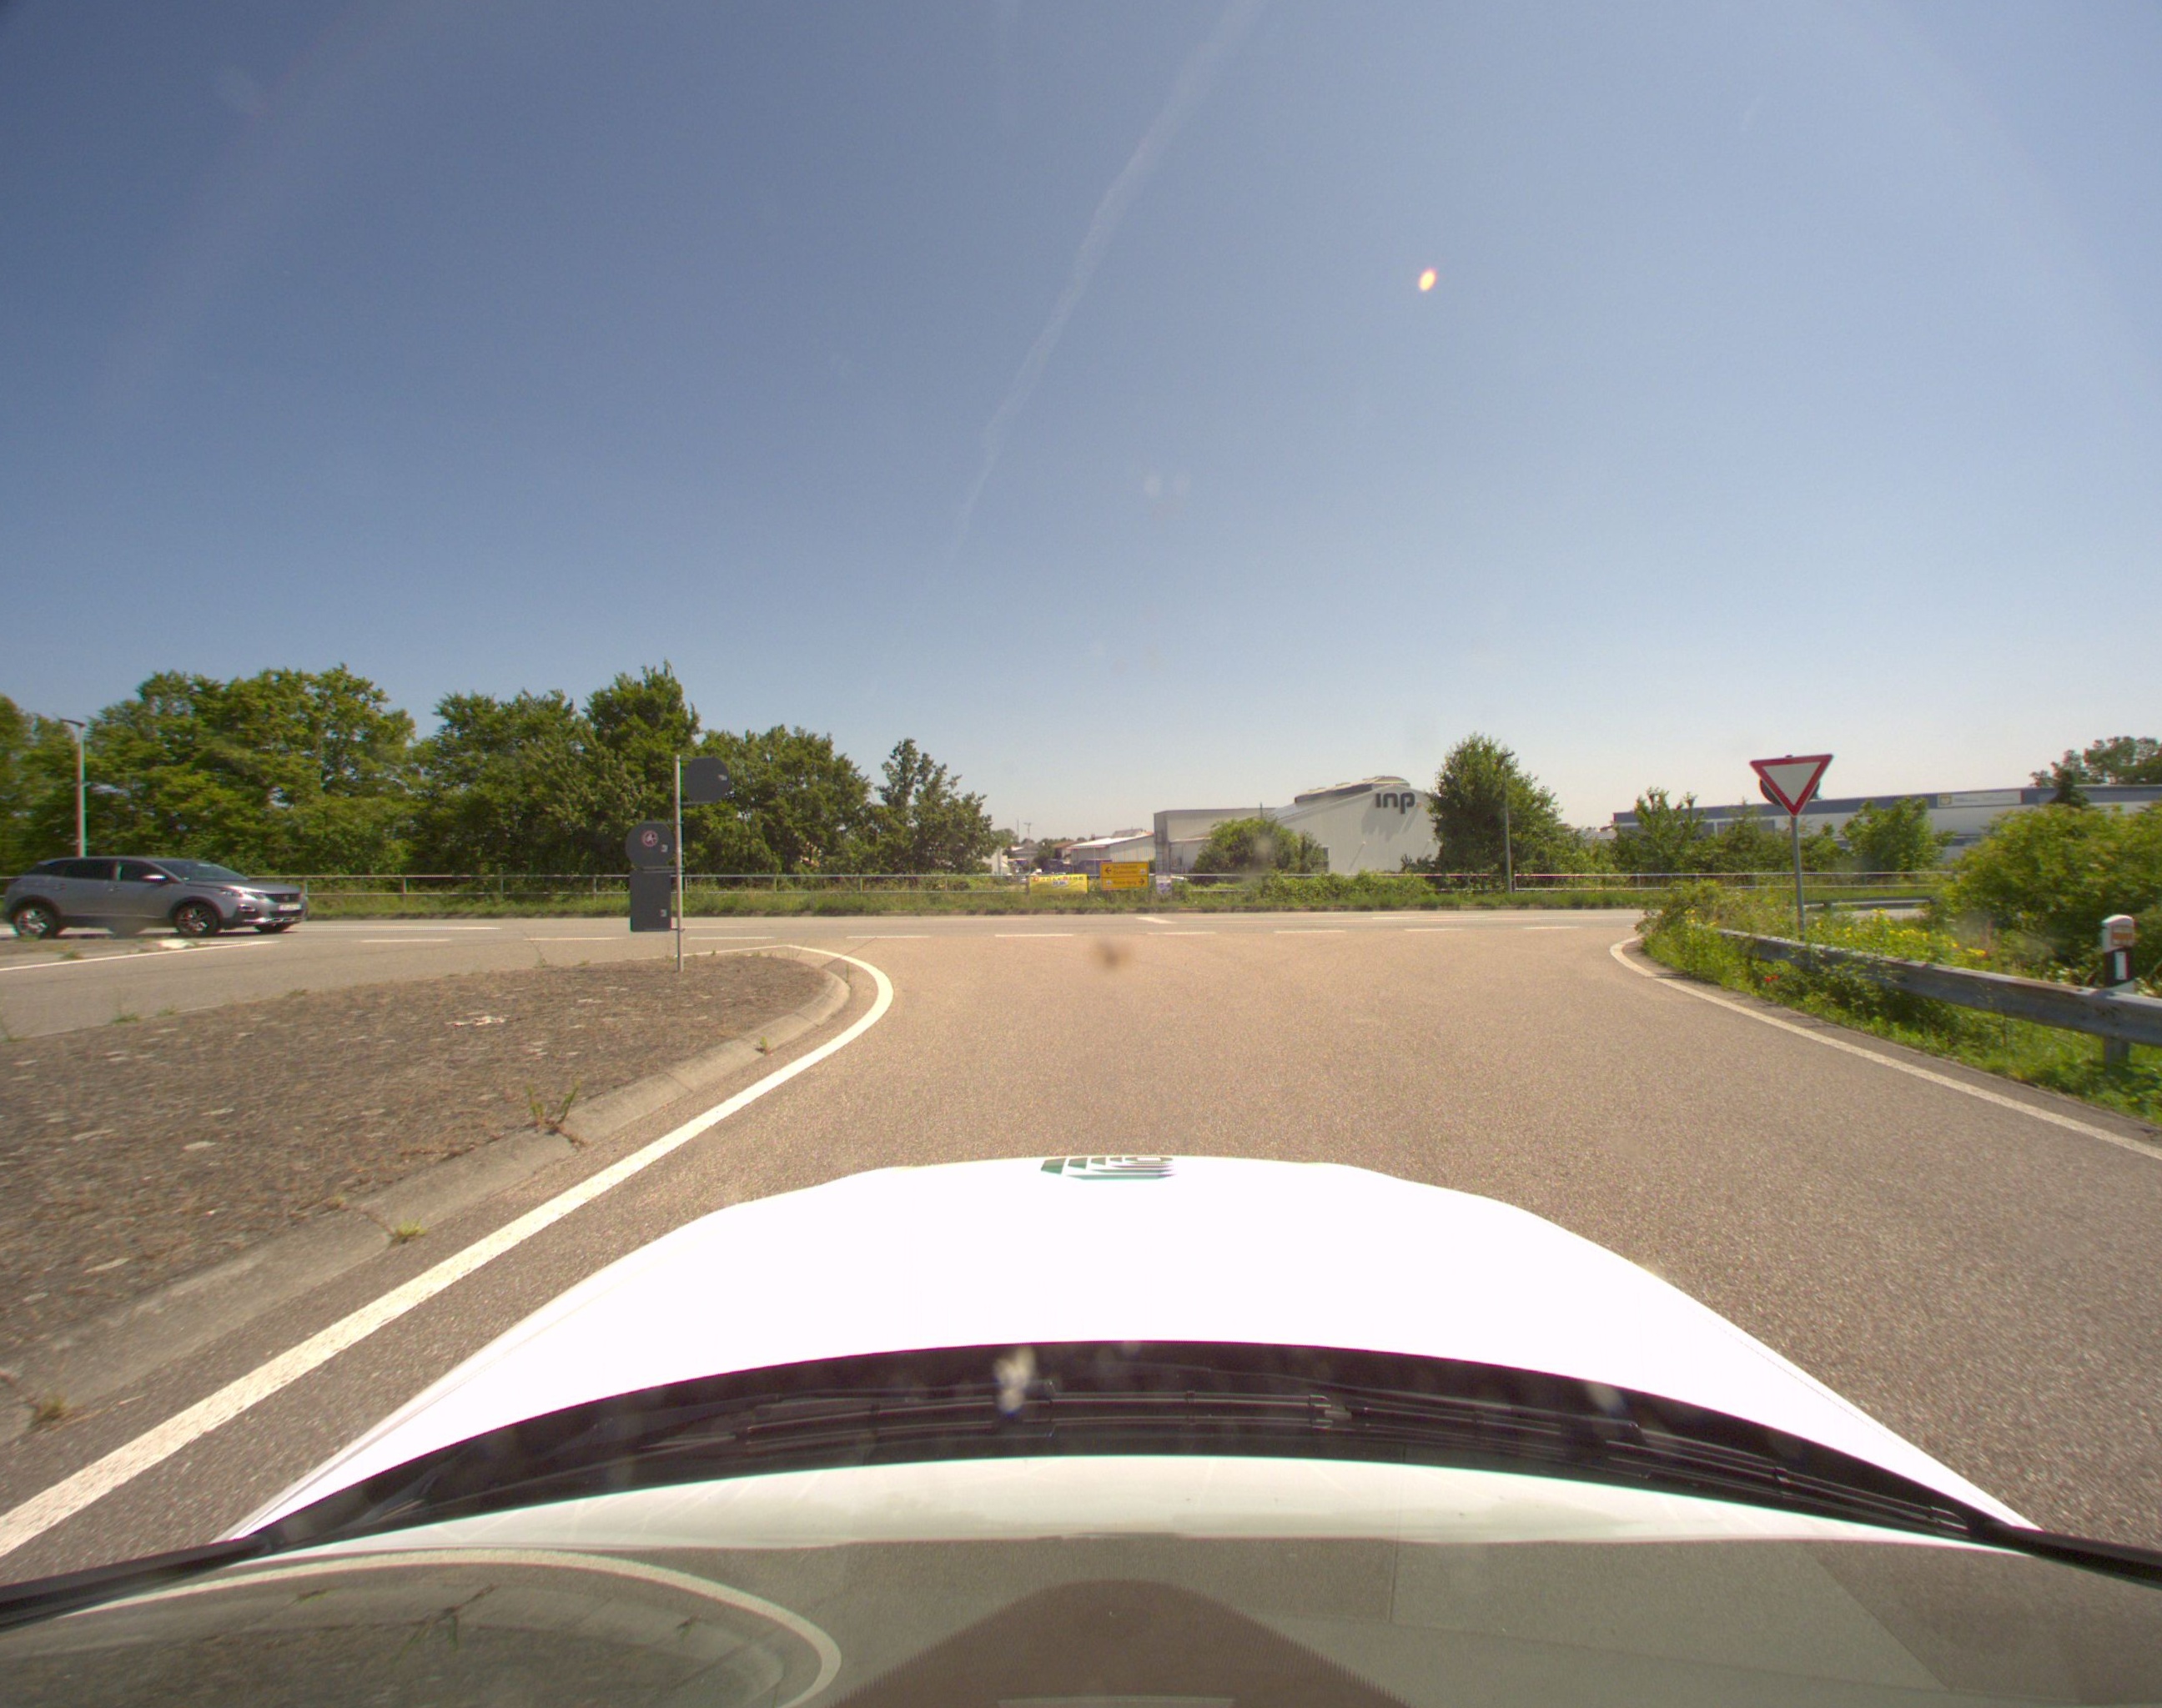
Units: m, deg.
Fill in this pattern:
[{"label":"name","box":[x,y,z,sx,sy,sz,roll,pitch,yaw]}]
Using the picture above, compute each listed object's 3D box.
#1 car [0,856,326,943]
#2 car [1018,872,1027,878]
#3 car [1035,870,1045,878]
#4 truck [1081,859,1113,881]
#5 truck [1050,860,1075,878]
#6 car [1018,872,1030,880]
[{"label":"car","box":[-18.421,0.869,16.376,4.474,1.583,1.793,0,-1,-9]},{"label":"car","box":[-13.762,4.864,191.417,1.453,1.350,3.299,0,-1,-15]},{"label":"car","box":[-9.580,4.640,189.709,1.719,2.014,3.981,0,-1,-14]},{"label":"truck","box":[3.218,3.309,167.471,3.711,4.311,13.286,0,-1,-12]},{"label":"truck","box":[-4.613,3.677,200.800,3.415,4.311,14.527,0,-1,-13]},{"label":"car","box":[-12.805,4.955,182.811,1.996,1.731,4.839,0,-1,-14]}]
